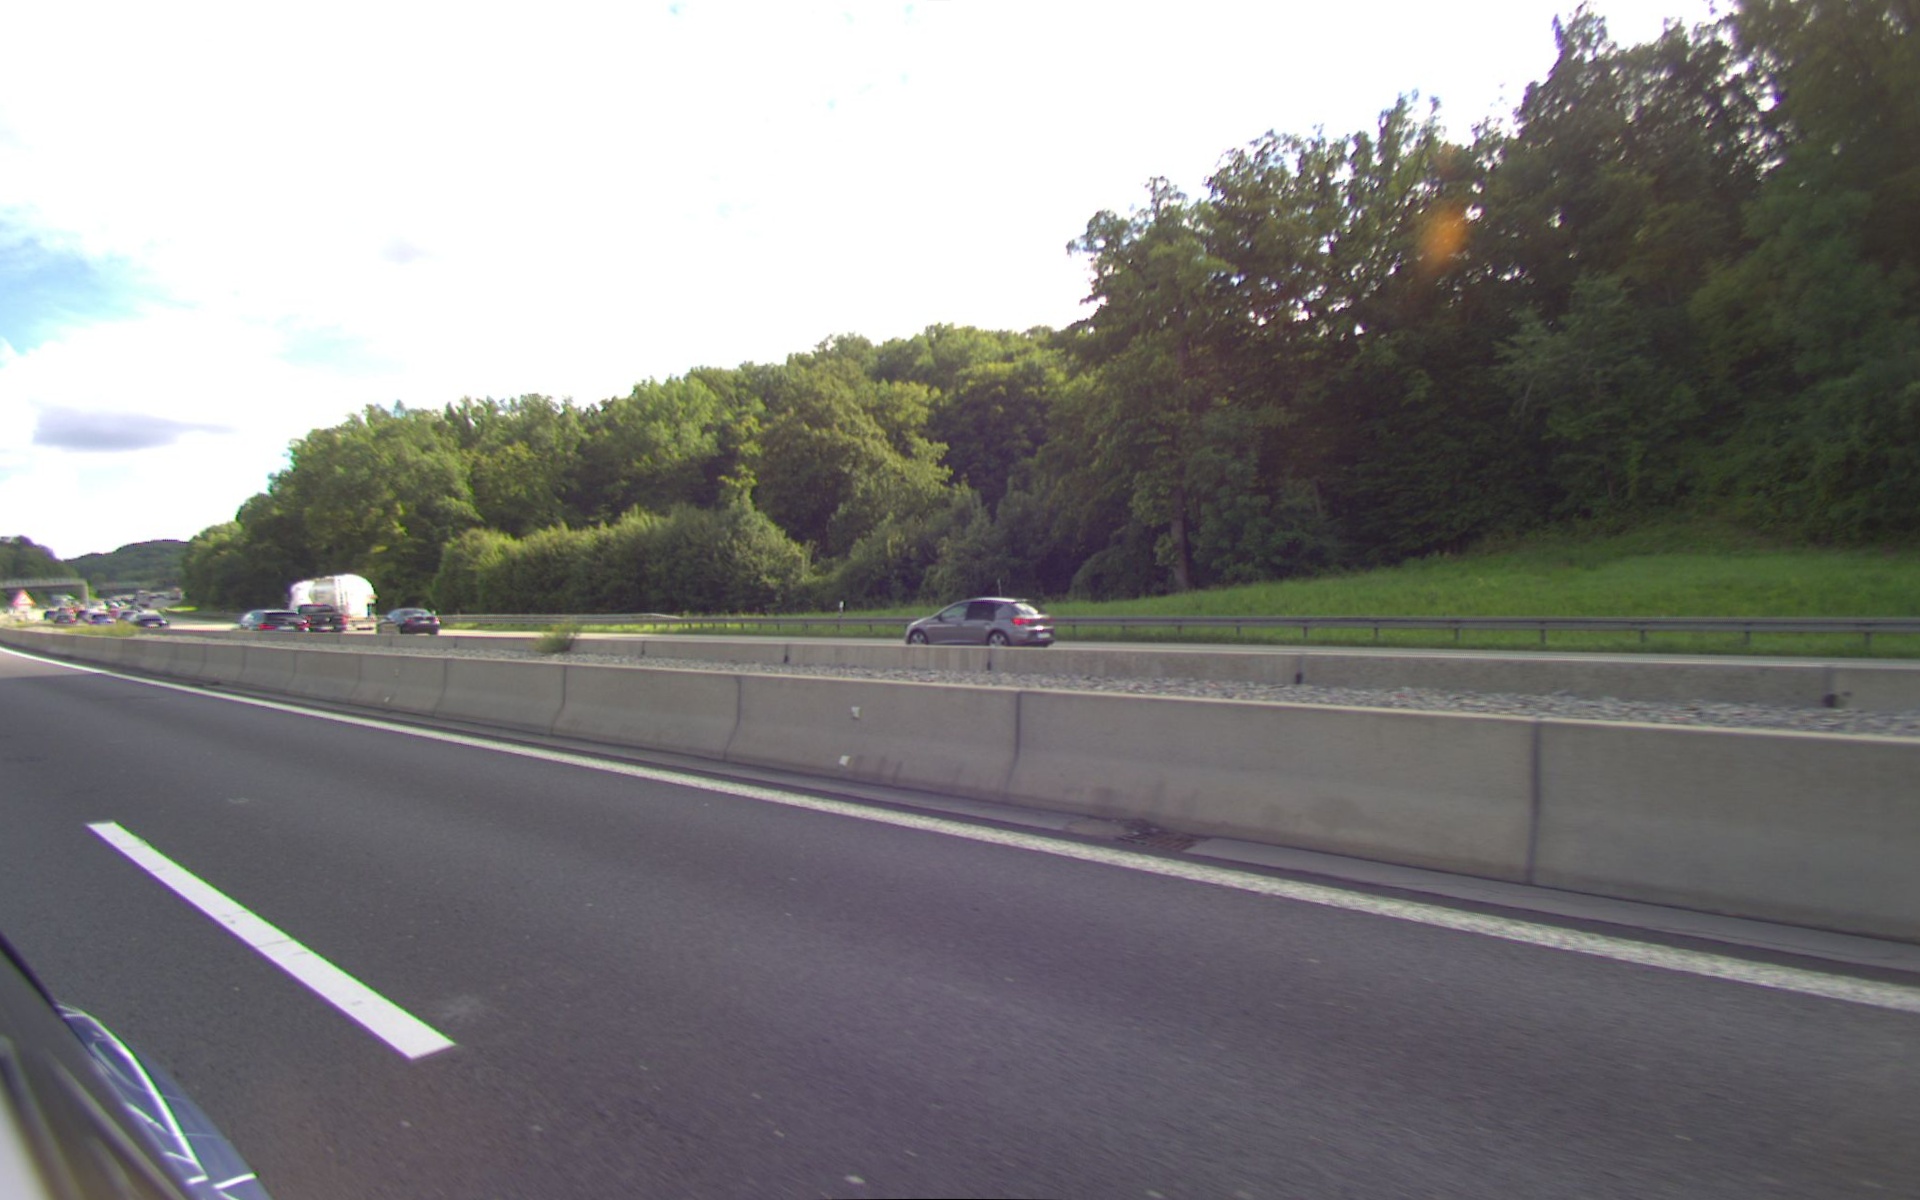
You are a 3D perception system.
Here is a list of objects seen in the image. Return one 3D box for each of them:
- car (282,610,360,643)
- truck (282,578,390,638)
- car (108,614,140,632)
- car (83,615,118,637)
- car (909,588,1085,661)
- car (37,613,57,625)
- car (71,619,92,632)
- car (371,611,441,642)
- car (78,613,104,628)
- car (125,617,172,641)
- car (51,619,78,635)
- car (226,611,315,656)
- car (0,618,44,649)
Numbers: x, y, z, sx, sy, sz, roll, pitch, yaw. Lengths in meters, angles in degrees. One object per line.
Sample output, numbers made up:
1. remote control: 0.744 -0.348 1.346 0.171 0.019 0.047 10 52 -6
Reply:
1. car: -31.230 1.276 49.405 5.040 1.504 2.014 -1 0 43
2. truck: -46.874 0.599 75.755 13.680 4.158 3.413 -1 0 43
3. car: -76.439 2.067 92.508 4.549 1.542 1.812 -1 0 44
4. car: -64.318 1.952 75.732 3.843 1.542 1.580 -1 0 43
5. car: 0.865 0.587 25.157 4.187 1.651 1.709 -1 0 39
6. car: -140.367 2.850 155.591 2.097 1.767 4.002 -1 0 -45
7. car: -132.532 3.852 152.636 2.075 1.767 4.002 -1 0 -45
8. car: -28.317 1.320 51.702 4.342 1.476 1.880 -1 0 43
9. car: -107.591 2.517 125.301 4.001 1.767 2.075 -1 0 44
10. car: -52.505 1.867 65.459 4.539 1.489 1.748 -1 0 43
11. car: -84.630 2.542 95.613 4.064 1.509 1.580 -1 0 43
12. car: -26.777 1.263 39.249 4.481 1.618 1.782 -1 0 42
13. car: -65.690 2.322 70.884 4.000 2.050 1.972 -2 0 43
